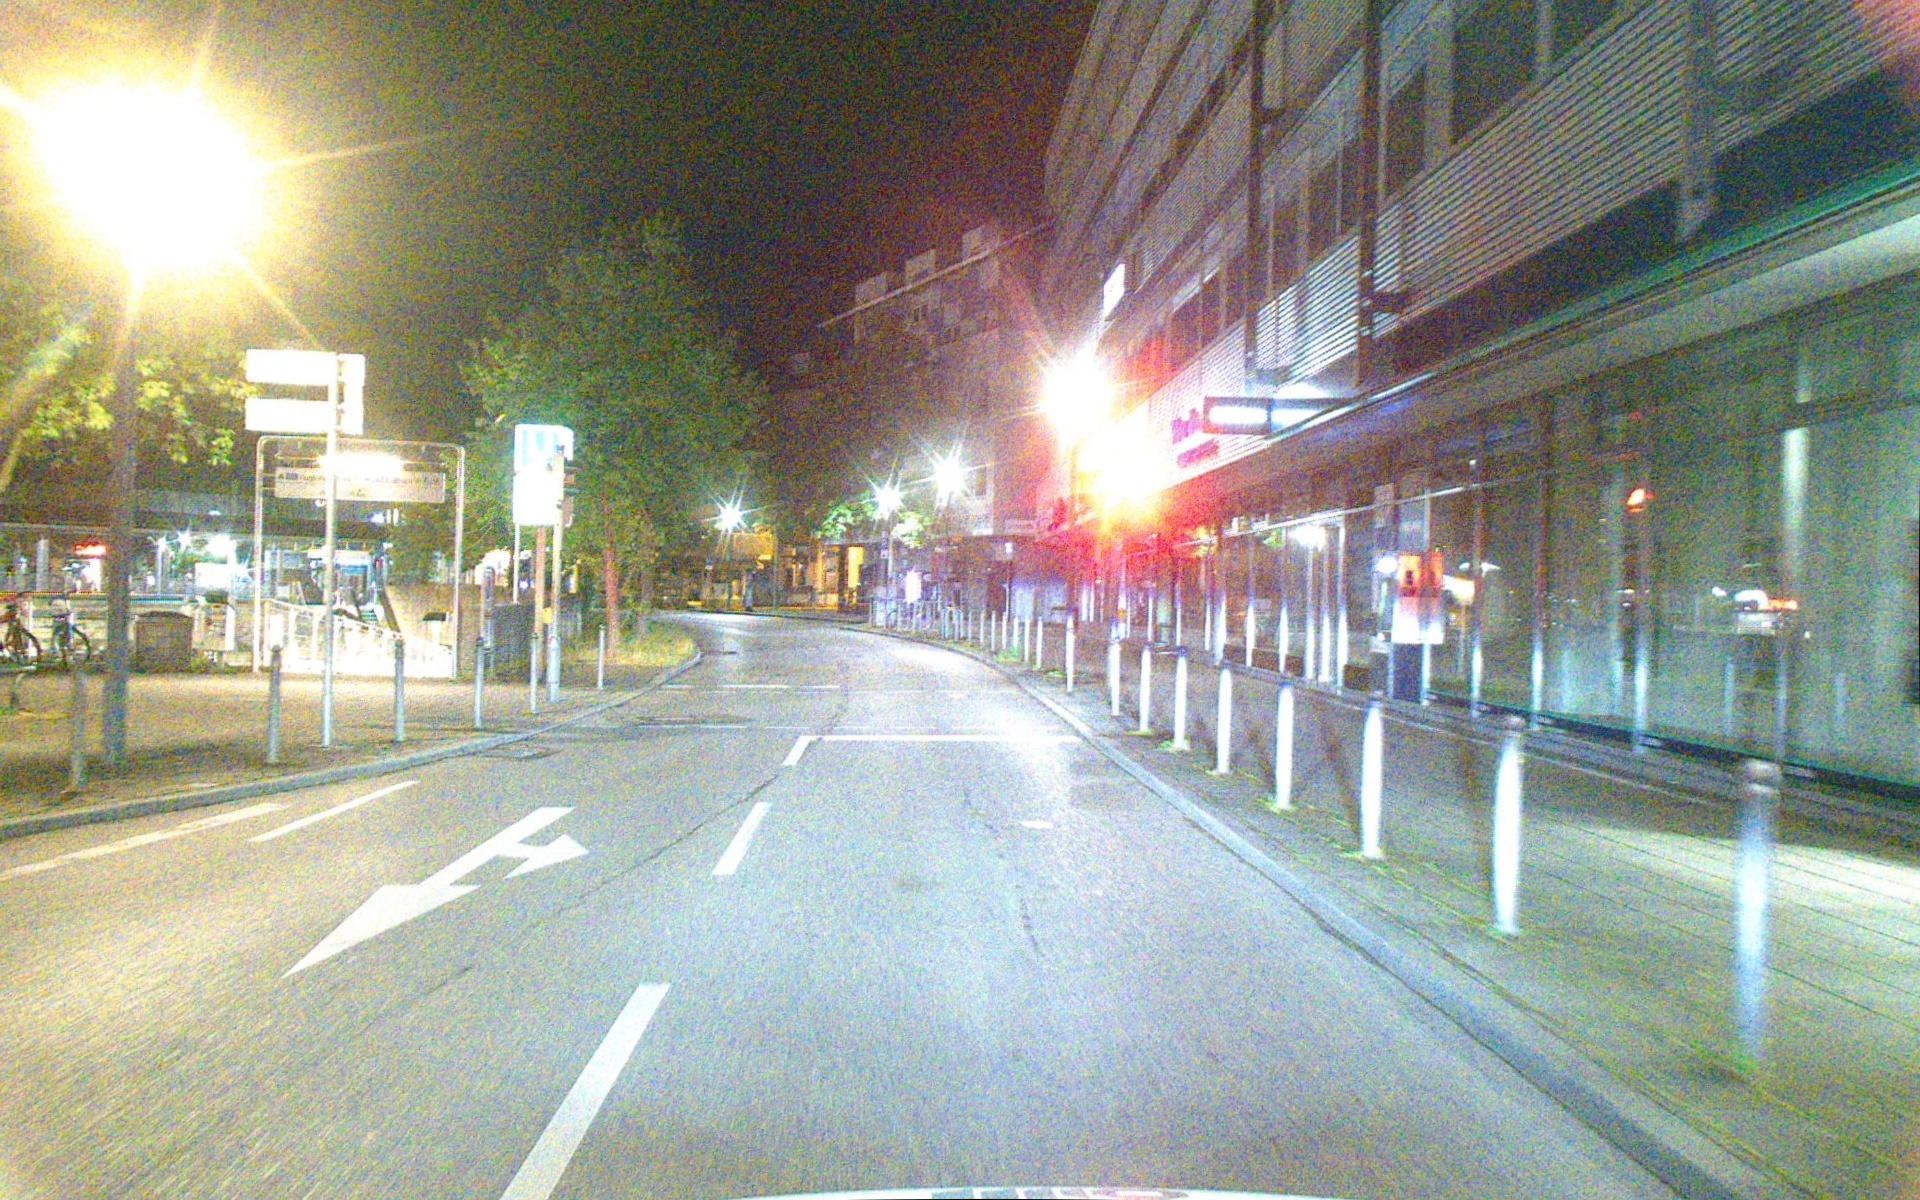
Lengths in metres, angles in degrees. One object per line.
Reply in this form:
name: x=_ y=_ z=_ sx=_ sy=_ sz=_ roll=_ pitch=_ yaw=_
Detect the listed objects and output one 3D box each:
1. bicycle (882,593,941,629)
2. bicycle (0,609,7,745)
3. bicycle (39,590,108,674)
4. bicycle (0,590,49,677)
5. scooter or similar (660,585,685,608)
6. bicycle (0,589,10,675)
bicycle: x=-1.499 y=0.349 z=51.242 sx=1.728 sy=1.081 sz=0.650 roll=1 pitch=1 yaw=-27
bicycle: x=-8.682 y=0.616 z=13.320 sx=1.583 sy=1.125 sz=0.670 roll=1 pitch=-1 yaw=-2
bicycle: x=-13.311 y=0.459 z=24.816 sx=0.752 sy=1.182 sz=1.727 roll=-1 pitch=2 yaw=-33
bicycle: x=-13.603 y=0.459 z=23.987 sx=0.538 sy=1.174 sz=1.727 roll=-1 pitch=2 yaw=-33
scooter or similar: x=-16.215 y=-0.185 z=93.207 sx=1.233 sy=1.248 sz=0.593 roll=2 pitch=0 yaw=-30
bicycle: x=-14.207 y=0.450 z=24.030 sx=0.601 sy=1.186 sz=1.727 roll=-1 pitch=2 yaw=-33
